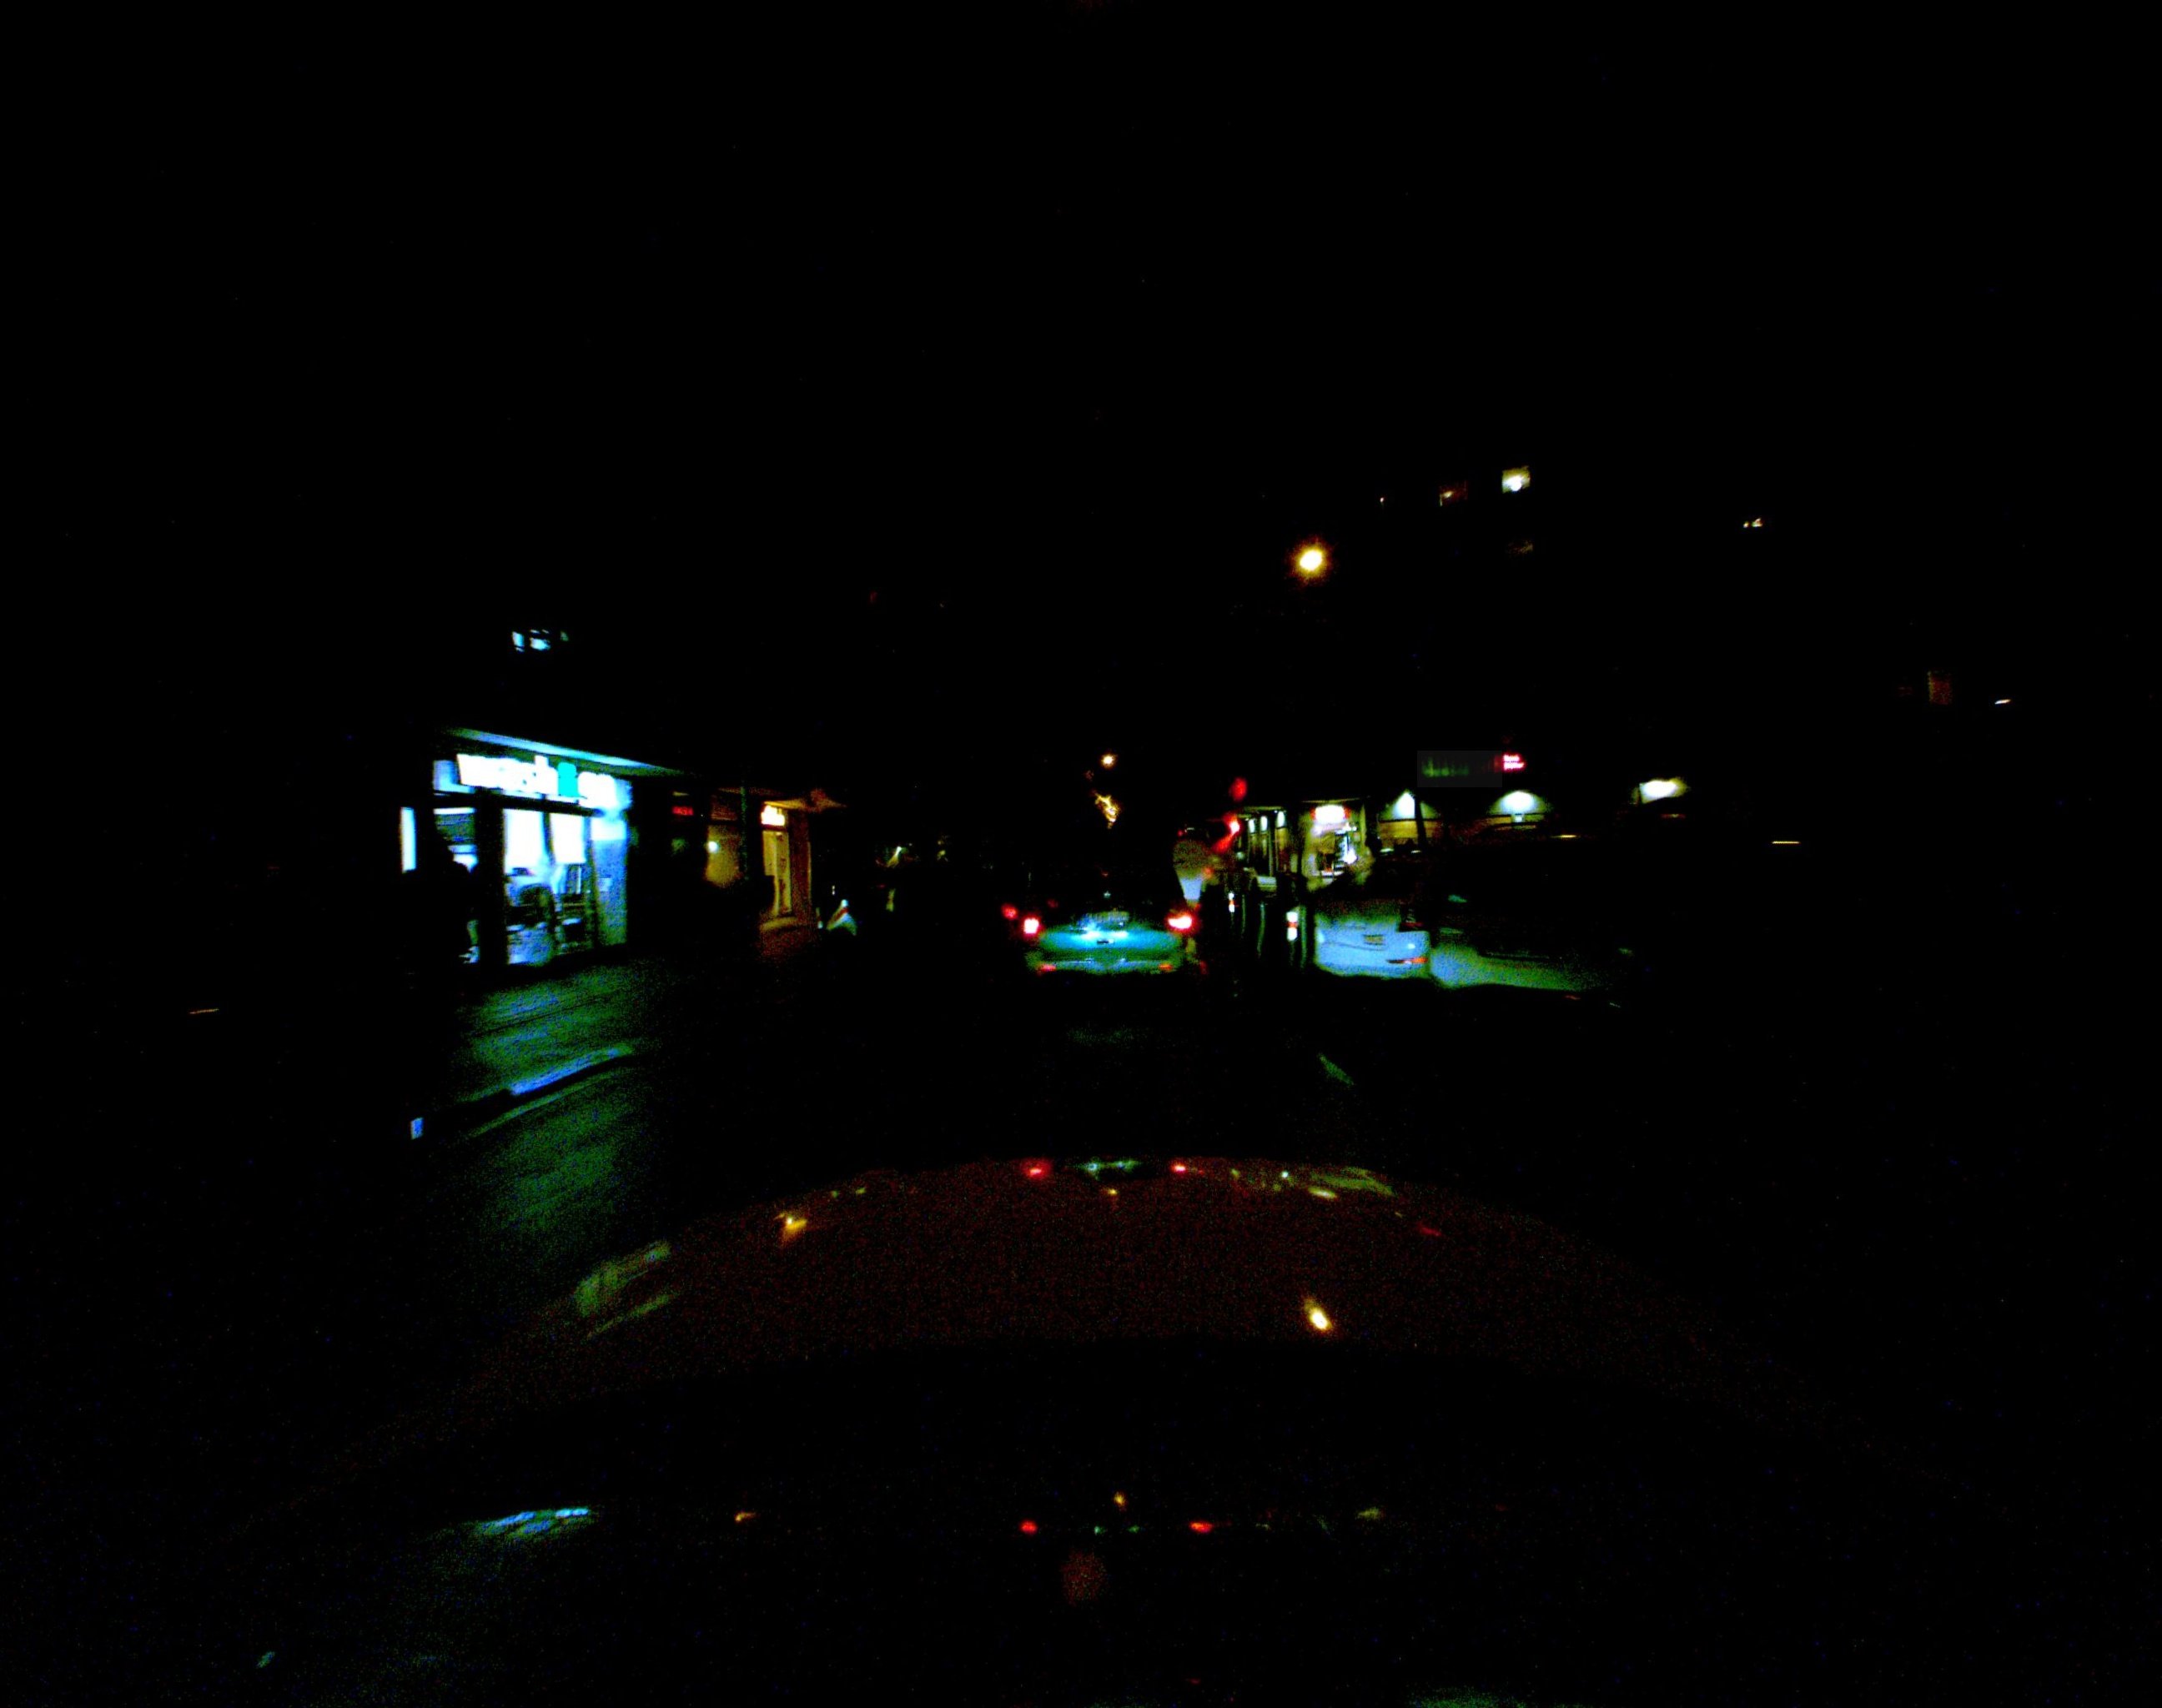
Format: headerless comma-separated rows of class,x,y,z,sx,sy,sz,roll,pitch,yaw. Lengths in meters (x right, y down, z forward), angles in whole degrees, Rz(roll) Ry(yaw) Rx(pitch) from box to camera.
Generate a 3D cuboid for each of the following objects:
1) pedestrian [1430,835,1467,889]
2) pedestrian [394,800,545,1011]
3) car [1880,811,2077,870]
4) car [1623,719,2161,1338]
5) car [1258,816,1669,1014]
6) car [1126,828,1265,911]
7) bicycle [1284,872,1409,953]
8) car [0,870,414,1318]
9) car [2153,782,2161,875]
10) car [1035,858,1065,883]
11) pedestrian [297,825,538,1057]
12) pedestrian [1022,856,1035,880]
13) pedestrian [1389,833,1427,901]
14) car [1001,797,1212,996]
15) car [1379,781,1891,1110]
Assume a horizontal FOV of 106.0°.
pedestrian,12.652,0.275,28.029,0.867,1.833,0.990,-3,-1,38
pedestrian,-6.954,0.555,9.324,0.796,2.241,1.116,-2,-1,1
car,26.133,-0.342,23.913,1.745,1.578,3.694,0,-1,1
car,4.332,0.398,3.637,3.808,1.712,1.730,-4,0,-33
car,4.245,0.524,8.943,4.272,1.573,1.756,-4,0,-27
car,3.182,0.366,21.653,2.103,1.922,4.855,-2,0,27
bicycle,3.652,0.794,11.316,0.338,1.026,1.626,-3,0,-44
car,-4.598,0.838,1.849,1.839,1.478,5.034,-2,0,2
car,21.794,-0.519,13.811,1.975,1.890,5.580,-2,0,25
car,-1.967,1.036,52.500,1.580,1.463,4.026,1,0,3
pedestrian,-5.922,0.716,7.400,0.952,1.863,1.415,-2,0,1
pedestrian,-3.930,1.043,61.338,0.799,1.766,1.018,-1,-1,8
pedestrian,8.721,0.341,21.751,0.820,1.771,0.602,-1,-1,14
car,0.357,0.457,10.699,2.114,1.991,4.603,-2,0,2
car,4.215,0.425,6.068,3.754,1.712,1.753,-4,0,-33
